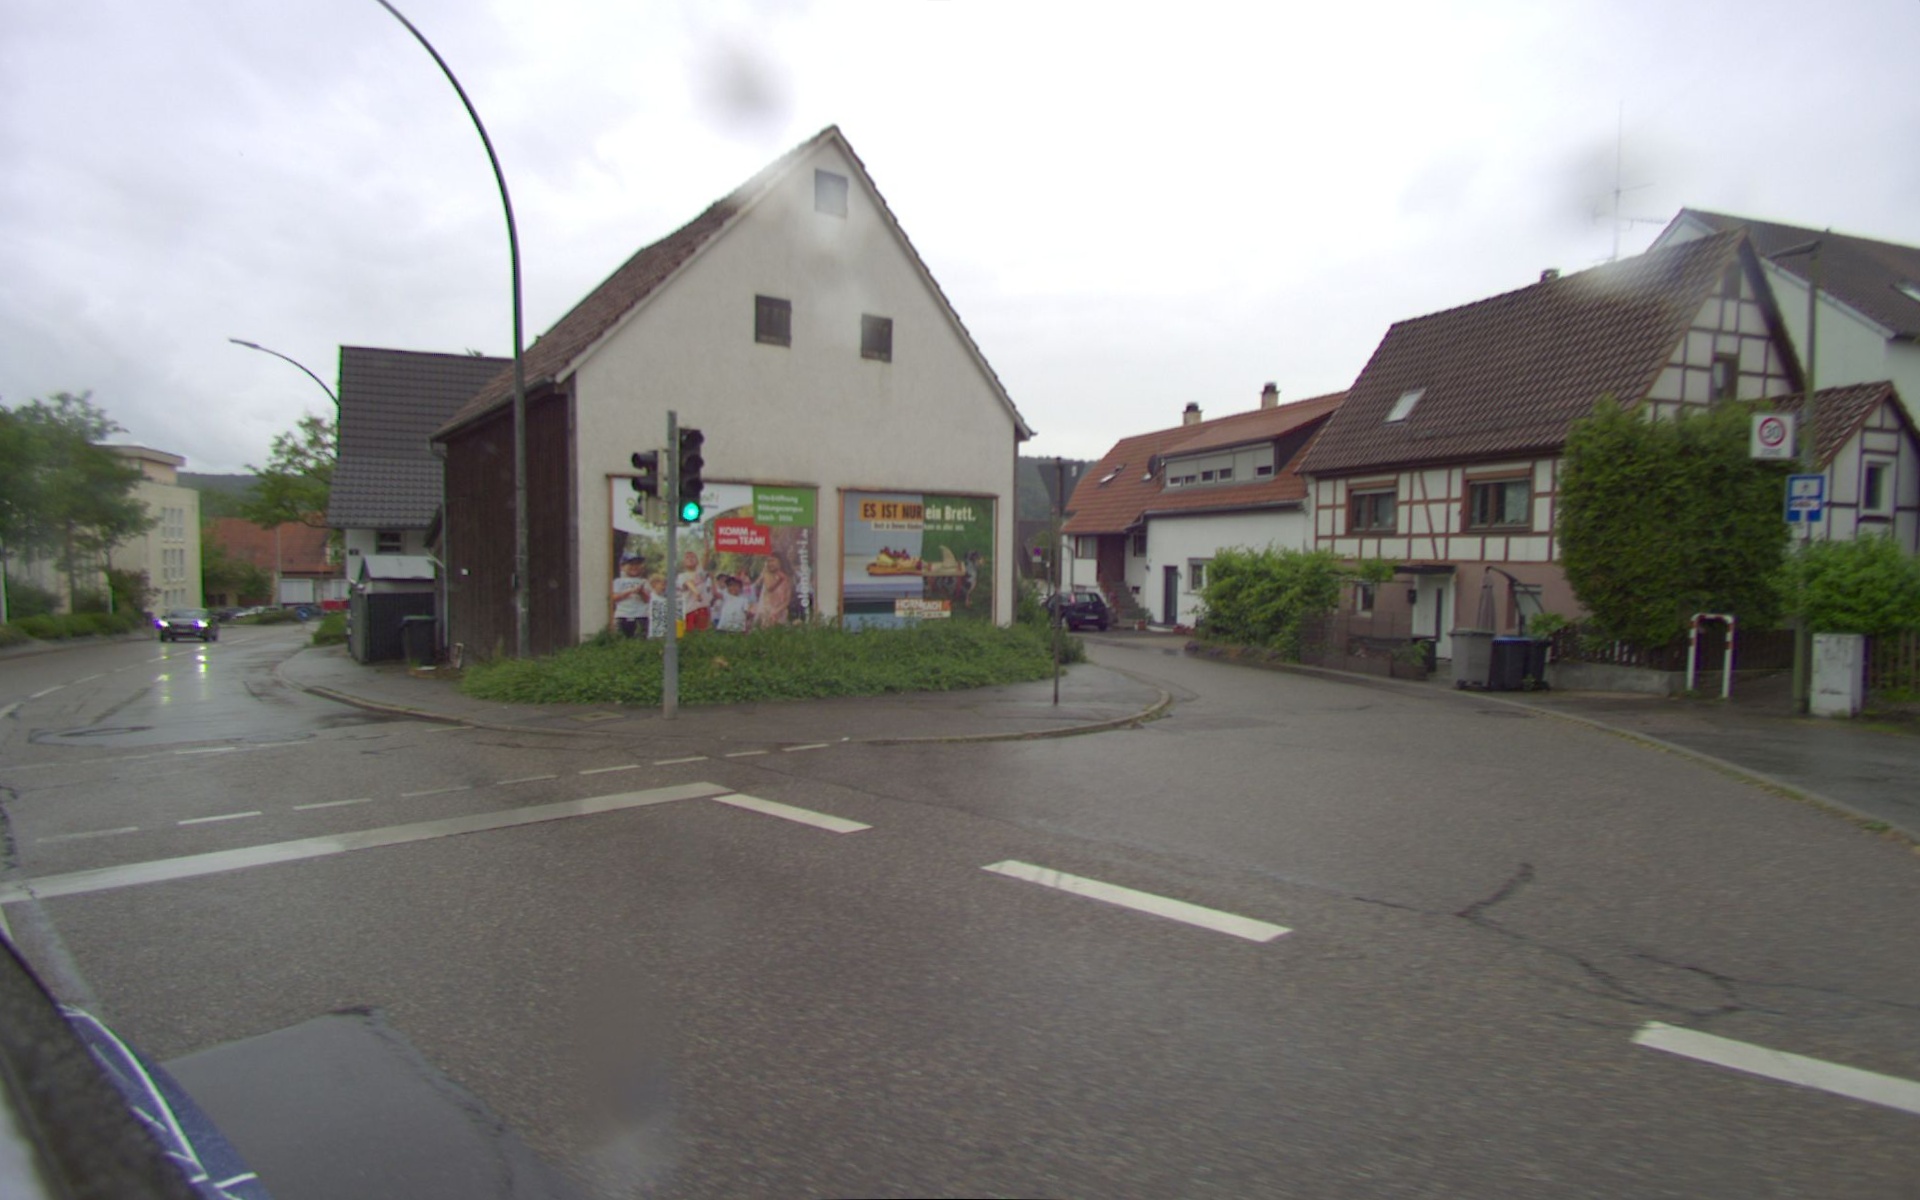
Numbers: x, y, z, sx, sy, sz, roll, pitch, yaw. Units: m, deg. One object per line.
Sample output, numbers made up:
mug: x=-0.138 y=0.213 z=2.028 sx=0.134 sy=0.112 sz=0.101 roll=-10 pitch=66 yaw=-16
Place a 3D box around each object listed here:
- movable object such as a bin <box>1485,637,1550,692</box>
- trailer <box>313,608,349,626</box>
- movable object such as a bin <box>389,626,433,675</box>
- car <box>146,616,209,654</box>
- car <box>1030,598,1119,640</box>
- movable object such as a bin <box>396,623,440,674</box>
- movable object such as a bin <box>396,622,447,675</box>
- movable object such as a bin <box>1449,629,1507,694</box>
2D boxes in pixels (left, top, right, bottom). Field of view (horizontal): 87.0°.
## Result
movable object such as a bin: x=9.574 y=1.103 z=17.395 sx=0.692 sy=0.894 sz=0.653 roll=0 pitch=-1 yaw=-16
trailer: x=-61.044 y=1.633 z=98.252 sx=2.685 sy=1.662 sz=1.413 roll=-1 pitch=0 yaw=-2
movable object such as a bin: x=-12.698 y=1.164 z=23.392 sx=0.824 sy=1.066 sz=0.613 roll=-1 pitch=1 yaw=-35
car: x=-34.945 y=1.516 z=45.281 sx=1.967 sy=1.541 sz=4.010 roll=-1 pitch=1 yaw=-34
car: x=4.258 y=0.718 z=38.203 sx=1.700 sy=1.504 sz=3.982 roll=0 pitch=-1 yaw=-20
movable object such as a bin: x=-12.243 y=1.086 z=22.860 sx=0.806 sy=1.069 sz=0.598 roll=-1 pitch=1 yaw=-35
movable object such as a bin: x=-11.869 y=1.066 z=22.313 sx=0.885 sy=1.086 sz=0.653 roll=-2 pitch=1 yaw=-35
movable object such as a bin: x=8.816 y=1.035 z=17.225 sx=0.569 sy=1.054 sz=0.653 roll=0 pitch=-1 yaw=-16
